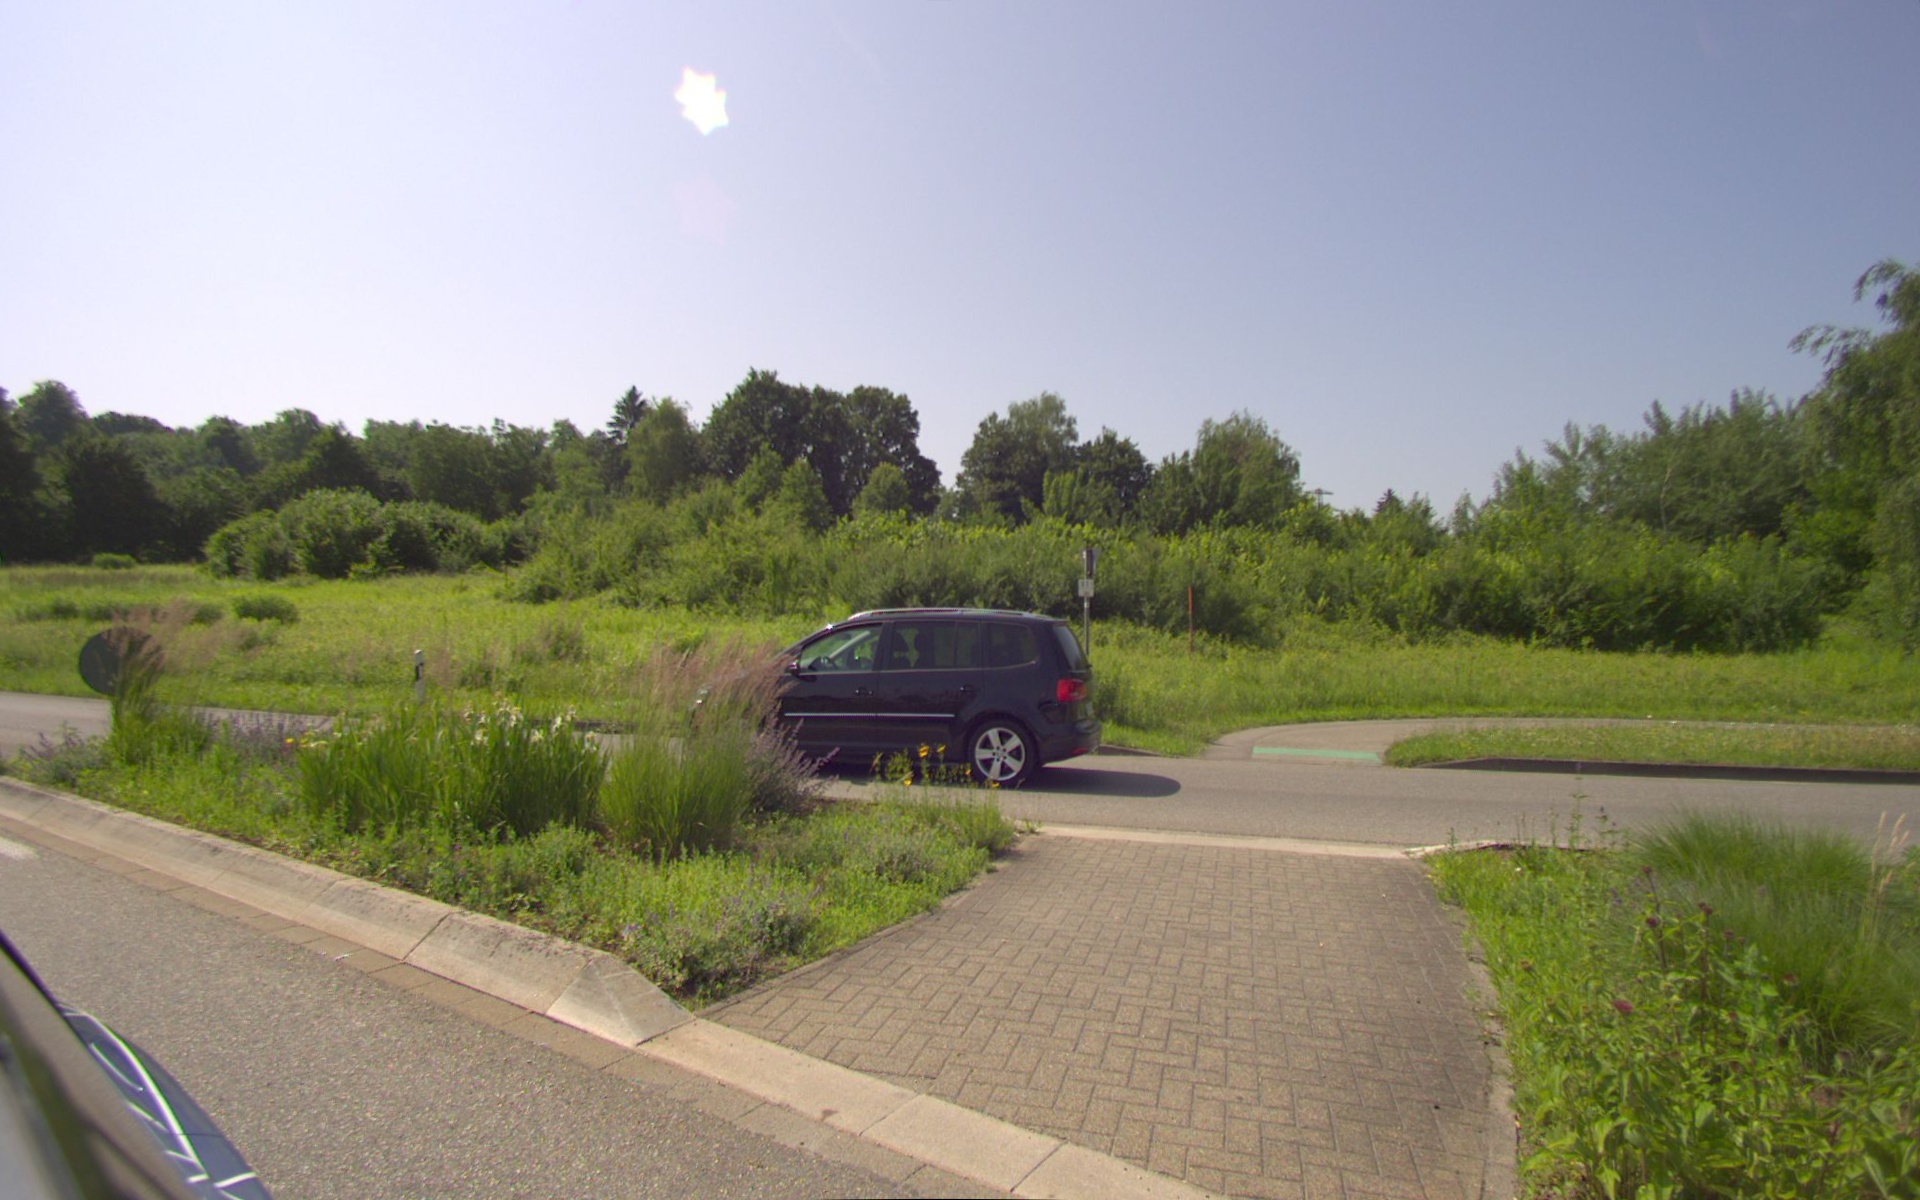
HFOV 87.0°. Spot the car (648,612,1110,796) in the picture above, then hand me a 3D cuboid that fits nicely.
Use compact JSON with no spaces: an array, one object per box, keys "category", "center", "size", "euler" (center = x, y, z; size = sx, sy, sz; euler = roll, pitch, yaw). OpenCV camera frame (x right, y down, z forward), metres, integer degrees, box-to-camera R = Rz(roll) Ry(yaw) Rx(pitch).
[{"category":"car","center":[-0.713,0.958,10.297],"size":[4.329,1.607,1.905],"euler":[0,-3,13]}]

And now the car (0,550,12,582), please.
[{"category":"car","center":[-62.718,-2.155,62.999],"size":[1.974,2.029,5.595],"euler":[0,0,4]}]
